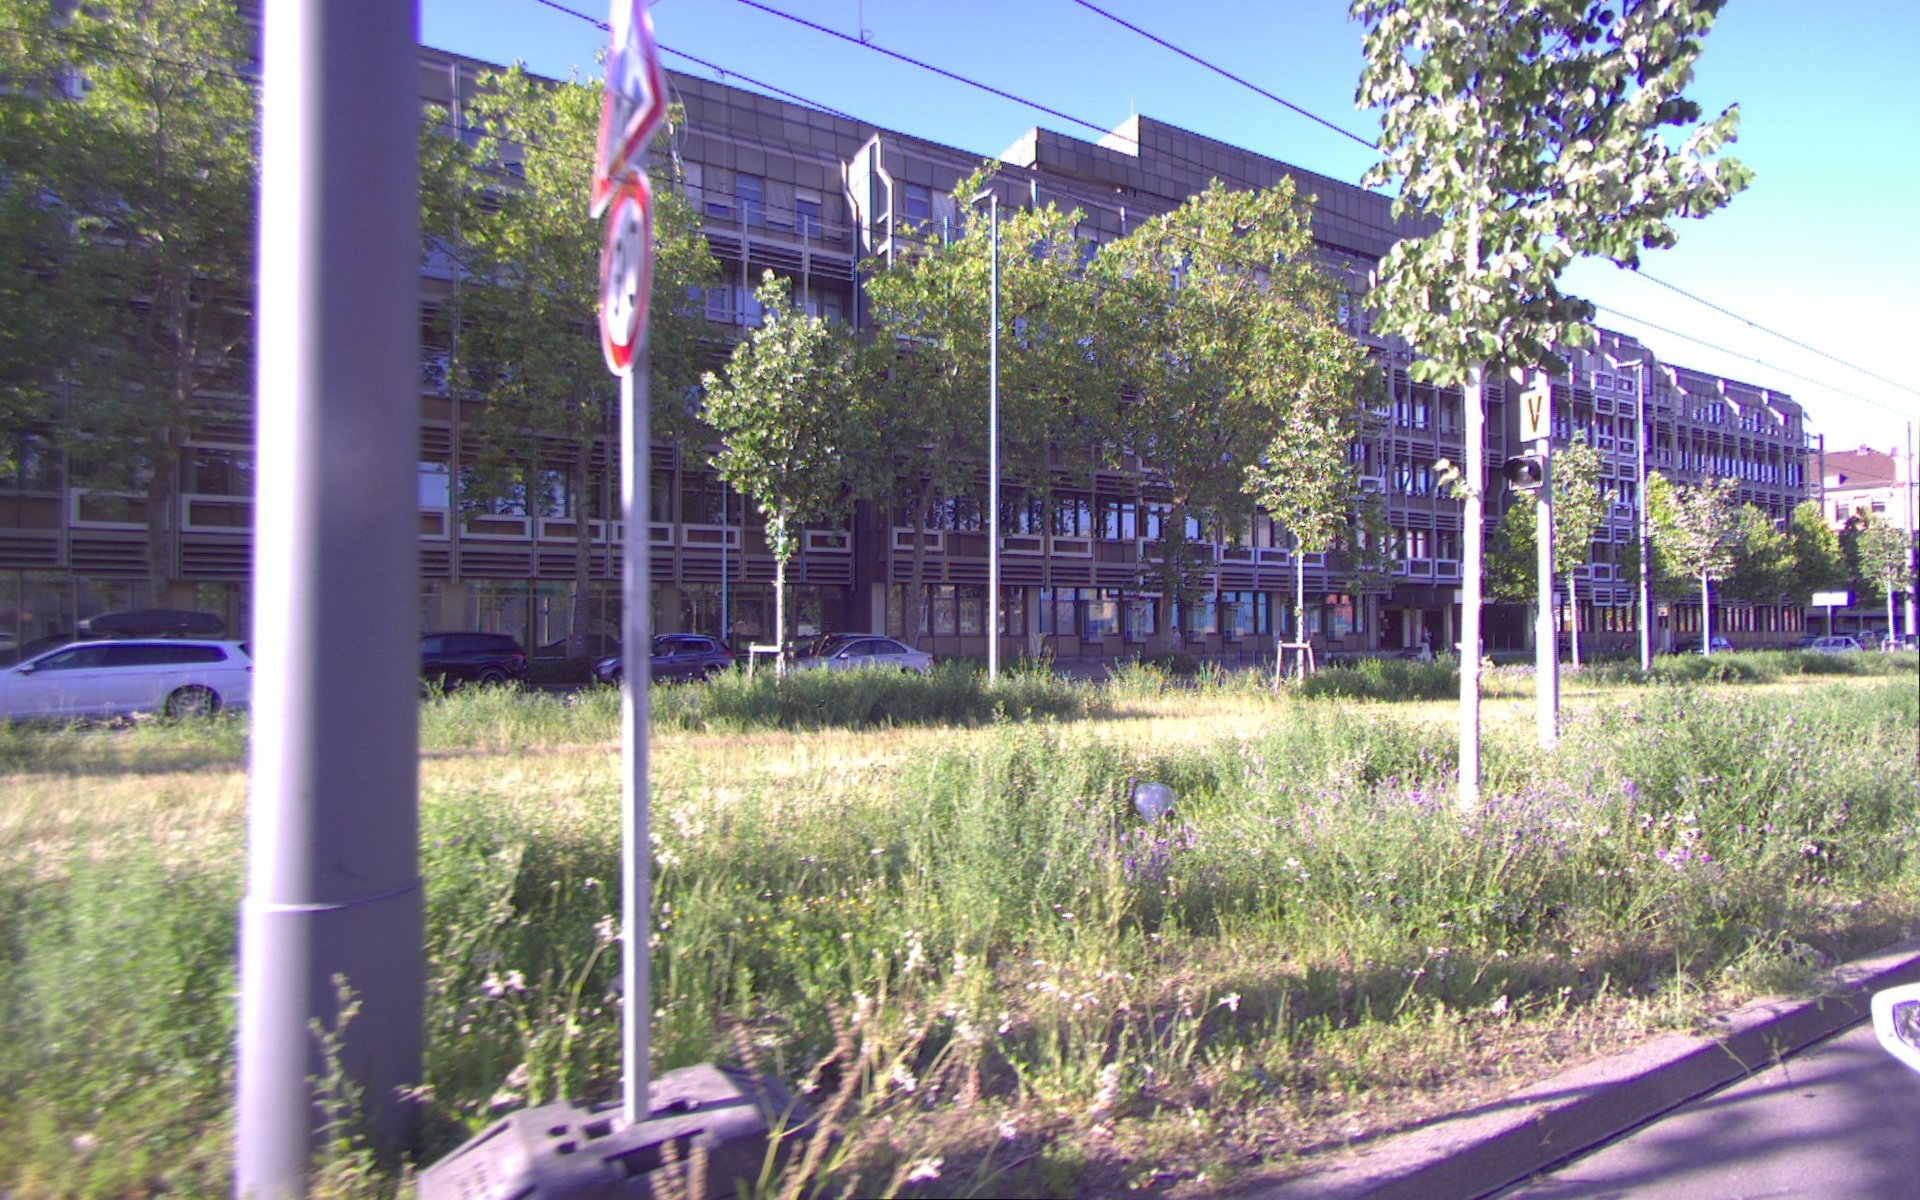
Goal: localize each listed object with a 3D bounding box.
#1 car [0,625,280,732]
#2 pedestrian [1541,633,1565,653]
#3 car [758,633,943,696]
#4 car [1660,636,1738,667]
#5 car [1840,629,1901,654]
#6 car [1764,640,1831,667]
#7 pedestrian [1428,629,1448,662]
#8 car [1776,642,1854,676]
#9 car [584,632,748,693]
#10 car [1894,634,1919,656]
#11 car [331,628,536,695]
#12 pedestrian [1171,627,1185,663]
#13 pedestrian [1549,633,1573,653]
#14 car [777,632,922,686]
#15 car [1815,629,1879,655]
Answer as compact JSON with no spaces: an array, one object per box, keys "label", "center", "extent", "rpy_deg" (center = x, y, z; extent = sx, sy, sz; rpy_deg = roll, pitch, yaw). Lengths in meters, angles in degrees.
[{"label":"car","center":[-14.104,1.242,16.554],"extent":[4.638,1.615,1.832],"rpy_deg":[1,-3,-30]},{"label":"pedestrian","center":[34.559,2.497,58.498],"extent":[0.856,1.184,0.895],"rpy_deg":[1,-2,-31]},{"label":"car","center":[-2.824,1.650,26.325],"extent":[4.528,1.535,1.750],"rpy_deg":[1,-3,-30]},{"label":"car","center":[39.218,2.689,53.259],"extent":[4.253,1.596,1.894],"rpy_deg":[1,-2,-32]},{"label":"car","center":[60.209,2.739,66.422],"extent":[4.253,1.596,1.894],"rpy_deg":[1,-2,-32]},{"label":"car","center":[51.153,3.257,61.360],"extent":[4.253,1.596,1.894],"rpy_deg":[1,-2,-32]},{"label":"pedestrian","center":[23.127,2.191,48.595],"extent":[0.643,1.552,0.659],"rpy_deg":[1,-2,-34]},{"label":"car","center":[43.413,2.959,50.963],"extent":[3.955,1.596,1.894],"rpy_deg":[1,-2,-32]},{"label":"car","center":[-8.550,1.793,29.274],"extent":[4.307,1.653,1.904],"rpy_deg":[1,-4,-28]},{"label":"car","center":[69.839,3.240,72.936],"extent":[4.253,1.596,1.894],"rpy_deg":[1,-2,-32]},{"label":"car","center":[-13.584,1.546,26.069],"extent":[4.570,1.578,1.735],"rpy_deg":[1,-1,-31]},{"label":"pedestrian","center":[9.665,2.007,44.594],"extent":[0.441,1.582,0.407],"rpy_deg":[1,-2,-29]},{"label":"pedestrian","center":[35.411,2.517,59.180],"extent":[0.888,1.184,0.896],"rpy_deg":[1,-2,-30]},{"label":"car","center":[-3.481,1.837,31.937],"extent":[4.225,1.617,1.853],"rpy_deg":[1,-3,-29]},{"label":"car","center":[56.542,2.657,64.031],"extent":[4.253,1.596,1.894],"rpy_deg":[1,-2,-32]}]
